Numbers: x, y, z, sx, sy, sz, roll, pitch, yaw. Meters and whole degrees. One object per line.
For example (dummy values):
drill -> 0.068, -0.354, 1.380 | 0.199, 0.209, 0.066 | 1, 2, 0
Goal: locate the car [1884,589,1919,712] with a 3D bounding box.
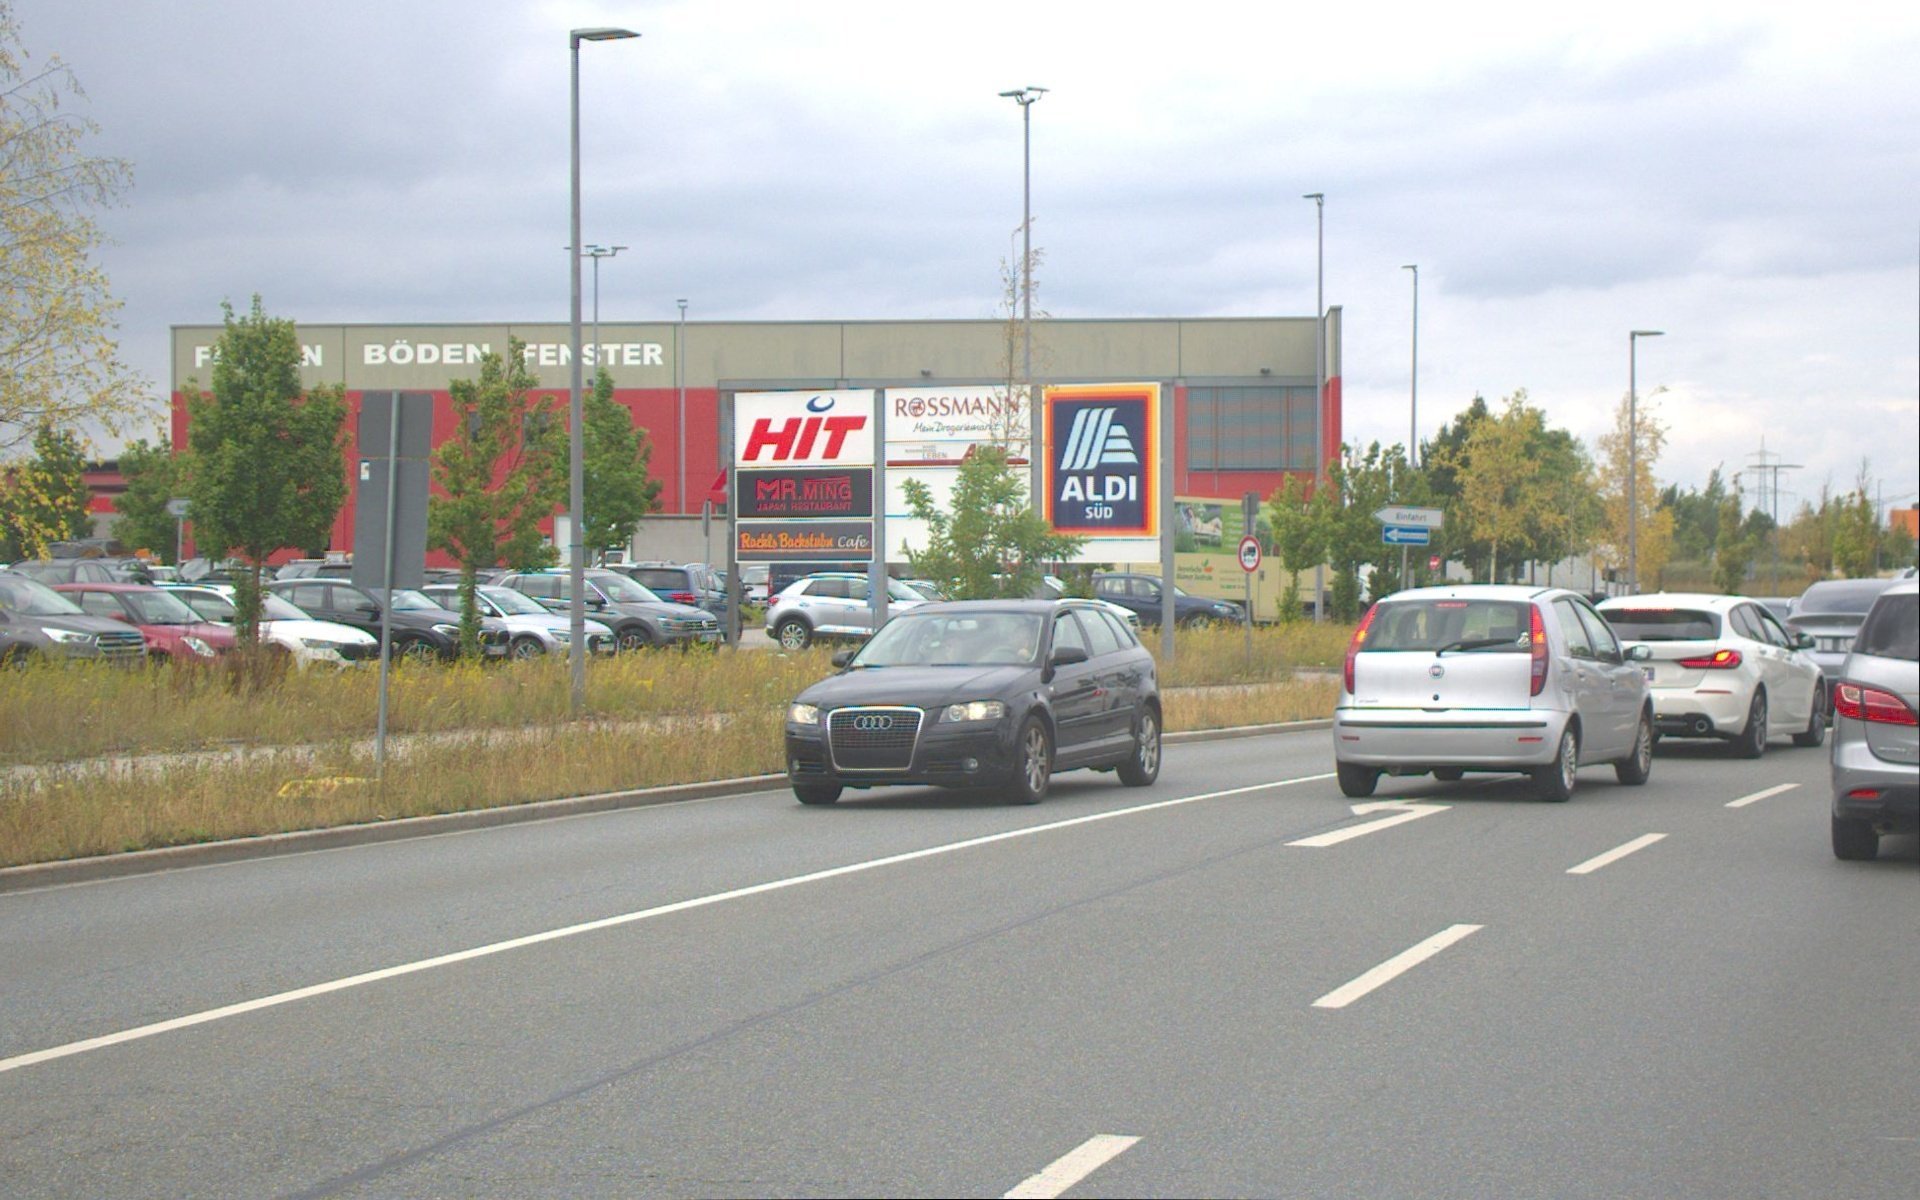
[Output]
car -> 13.619, 0.647, 46.224 | 1.905, 1.563, 4.331 | 0, 0, 20

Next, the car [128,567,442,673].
car -> -9.295, 0.259, 47.404 | 3.805, 1.385, 1.912 | 0, 1, 18

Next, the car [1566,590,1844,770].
car -> 6.770, 0.662, 30.949 | 1.797, 1.445, 4.244 | 0, 1, 21

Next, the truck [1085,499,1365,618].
truck -> 6.929, -1.071, 88.775 | 2.678, 2.935, 8.163 | 0, 1, 43

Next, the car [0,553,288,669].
car -> -10.624, 0.114, 43.249 | 3.805, 1.385, 1.912 | 0, 1, 18

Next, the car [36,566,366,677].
car -> -9.967, 0.259, 45.217 | 3.805, 1.385, 1.912 | 0, 1, 18

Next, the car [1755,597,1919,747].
car -> 10.267, 0.754, 38.604 | 1.807, 1.503, 4.879 | 0, 1, 23

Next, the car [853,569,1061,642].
car -> -0.060, 0.120, 69.419 | 3.834, 1.423, 1.740 | -1, 0, 22

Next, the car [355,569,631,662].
car -> -7.270, 0.224, 53.606 | 3.805, 1.385, 1.912 | 0, 1, 18

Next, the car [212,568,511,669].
car -> -8.618, 0.246, 49.572 | 3.805, 1.385, 1.912 | 0, 1, 18

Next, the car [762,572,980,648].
car -> -1.714, 0.188, 66.292 | 3.834, 1.423, 1.740 | -1, 0, 23

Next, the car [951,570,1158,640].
car -> 2.013, 0.107, 73.259 | 3.990, 1.437, 1.998 | -1, 0, 19

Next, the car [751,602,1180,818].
car -> 0.143, 0.728, 24.704 | 1.770, 1.379, 4.146 | -1, 0, 20

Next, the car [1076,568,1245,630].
car -> 4.687, -0.041, 80.141 | 3.831, 1.423, 1.742 | 0, 1, 7

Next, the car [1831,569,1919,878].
car -> 6.088, 0.625, 19.466 | 1.817, 1.558, 4.397 | 1, 1, 19

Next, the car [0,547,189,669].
car -> -11.348, 0.065, 40.922 | 3.805, 1.385, 1.912 | 0, 1, 18

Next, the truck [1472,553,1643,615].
truck -> 28.362, -0.759, 163.305 | 7.695, 2.906, 2.354 | 0, 1, 22

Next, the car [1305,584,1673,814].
car -> 3.842, 0.636, 24.454 | 1.797, 1.456, 3.812 | 0, 1, 21

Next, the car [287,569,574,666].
car -> -7.948, 0.236, 51.669 | 3.805, 1.385, 1.912 | 0, 1, 18
